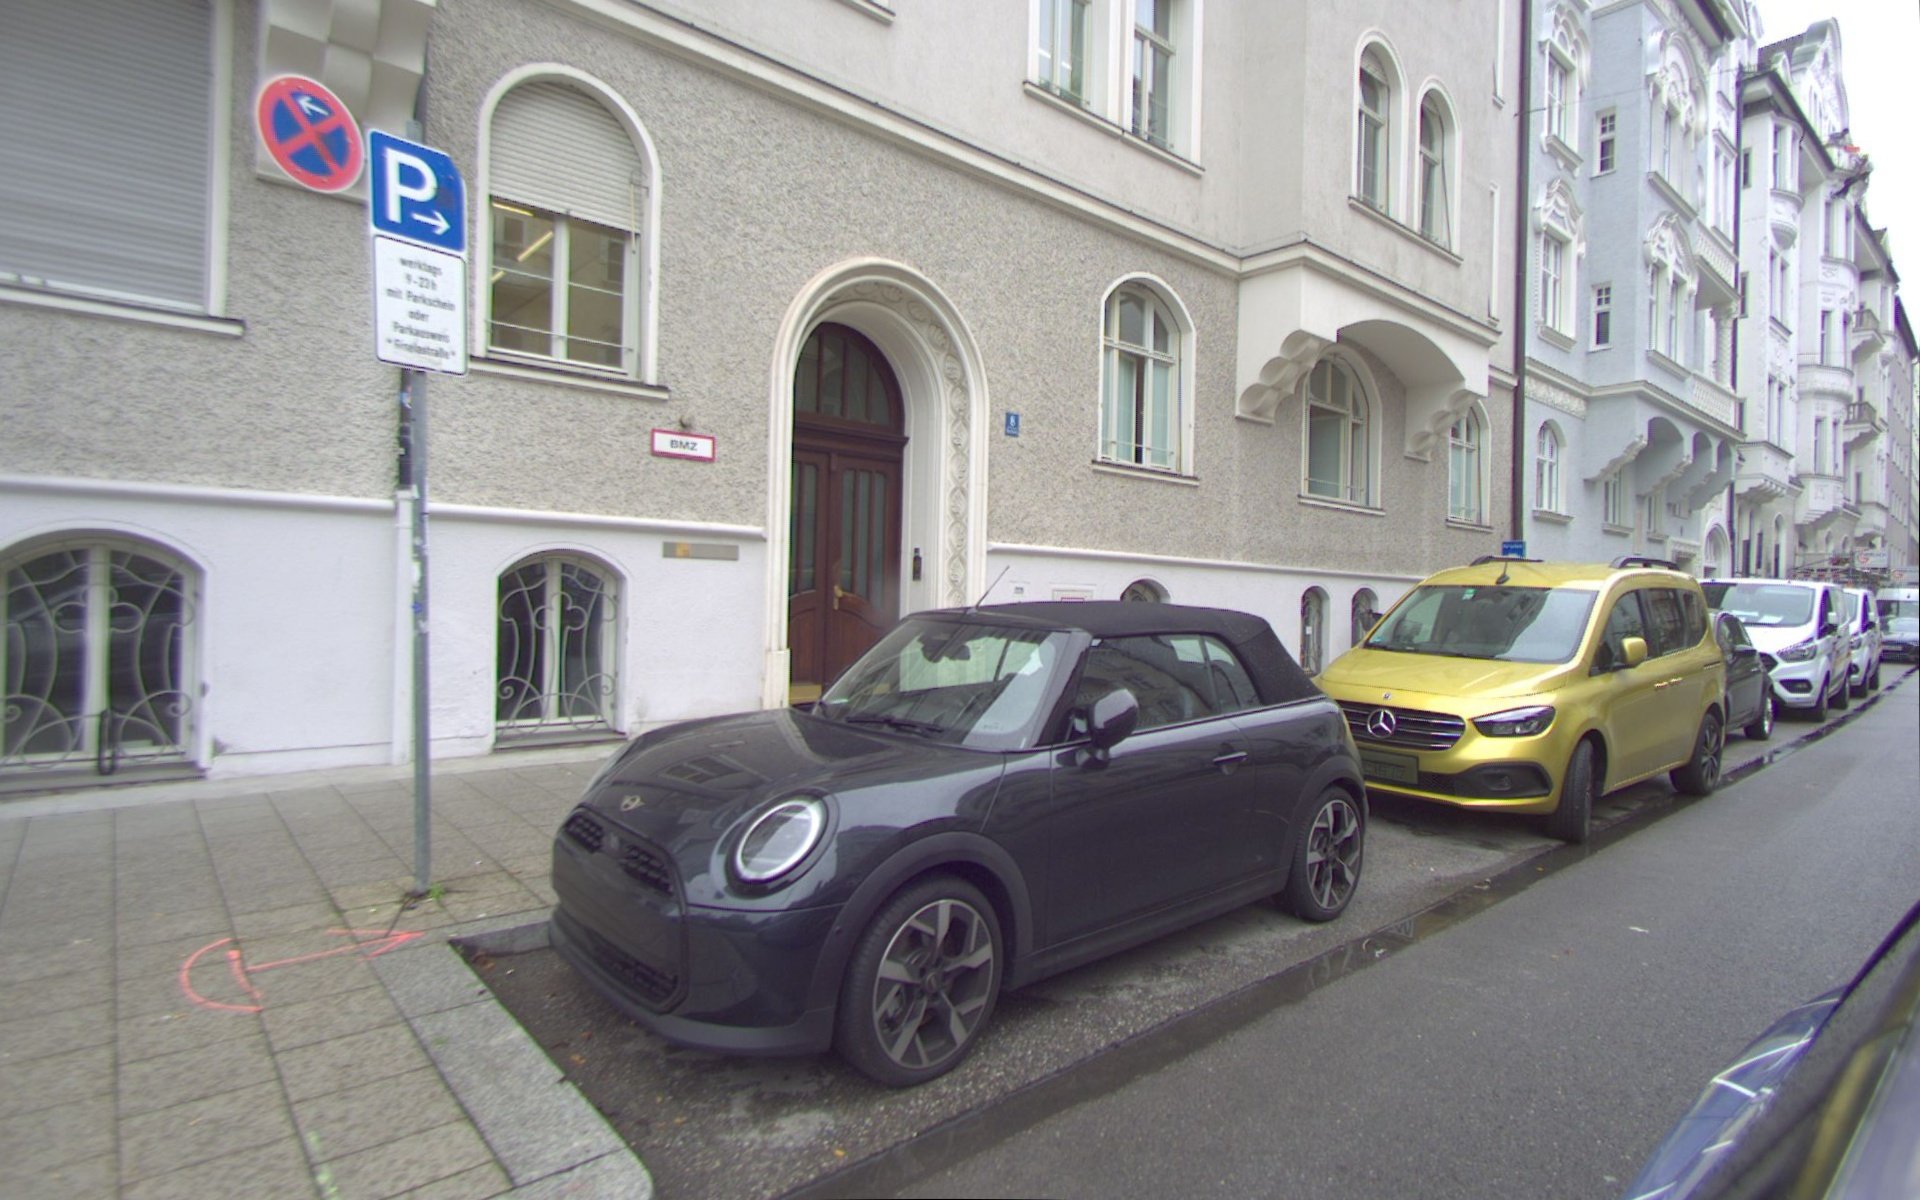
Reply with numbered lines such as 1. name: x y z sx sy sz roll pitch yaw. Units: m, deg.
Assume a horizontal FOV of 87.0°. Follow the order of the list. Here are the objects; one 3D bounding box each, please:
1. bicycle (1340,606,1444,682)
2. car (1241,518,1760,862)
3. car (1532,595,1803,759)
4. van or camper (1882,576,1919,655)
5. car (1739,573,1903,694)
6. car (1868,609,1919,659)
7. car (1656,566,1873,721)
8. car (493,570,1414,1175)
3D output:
1. bicycle: 6.918 0.673 16.150 2.001 1.107 0.696 1 2 -42
2. car: 4.347 0.502 7.750 4.734 1.876 1.854 1 0 -40
3. car: 7.983 0.731 11.305 3.717 1.503 1.634 1 1 -41
4. van or camper: 34.542 0.536 36.098 5.365 2.670 1.956 1 0 -43
5. car: 16.702 0.570 19.529 4.911 2.039 1.961 1 1 -44
6. car: 30.116 1.045 32.032 4.019 1.452 1.755 1 1 -44
7. car: 12.282 0.551 15.308 4.911 1.961 1.961 1 1 -44
8. car: 0.266 0.670 4.377 3.828 1.475 1.666 1 0 -42
